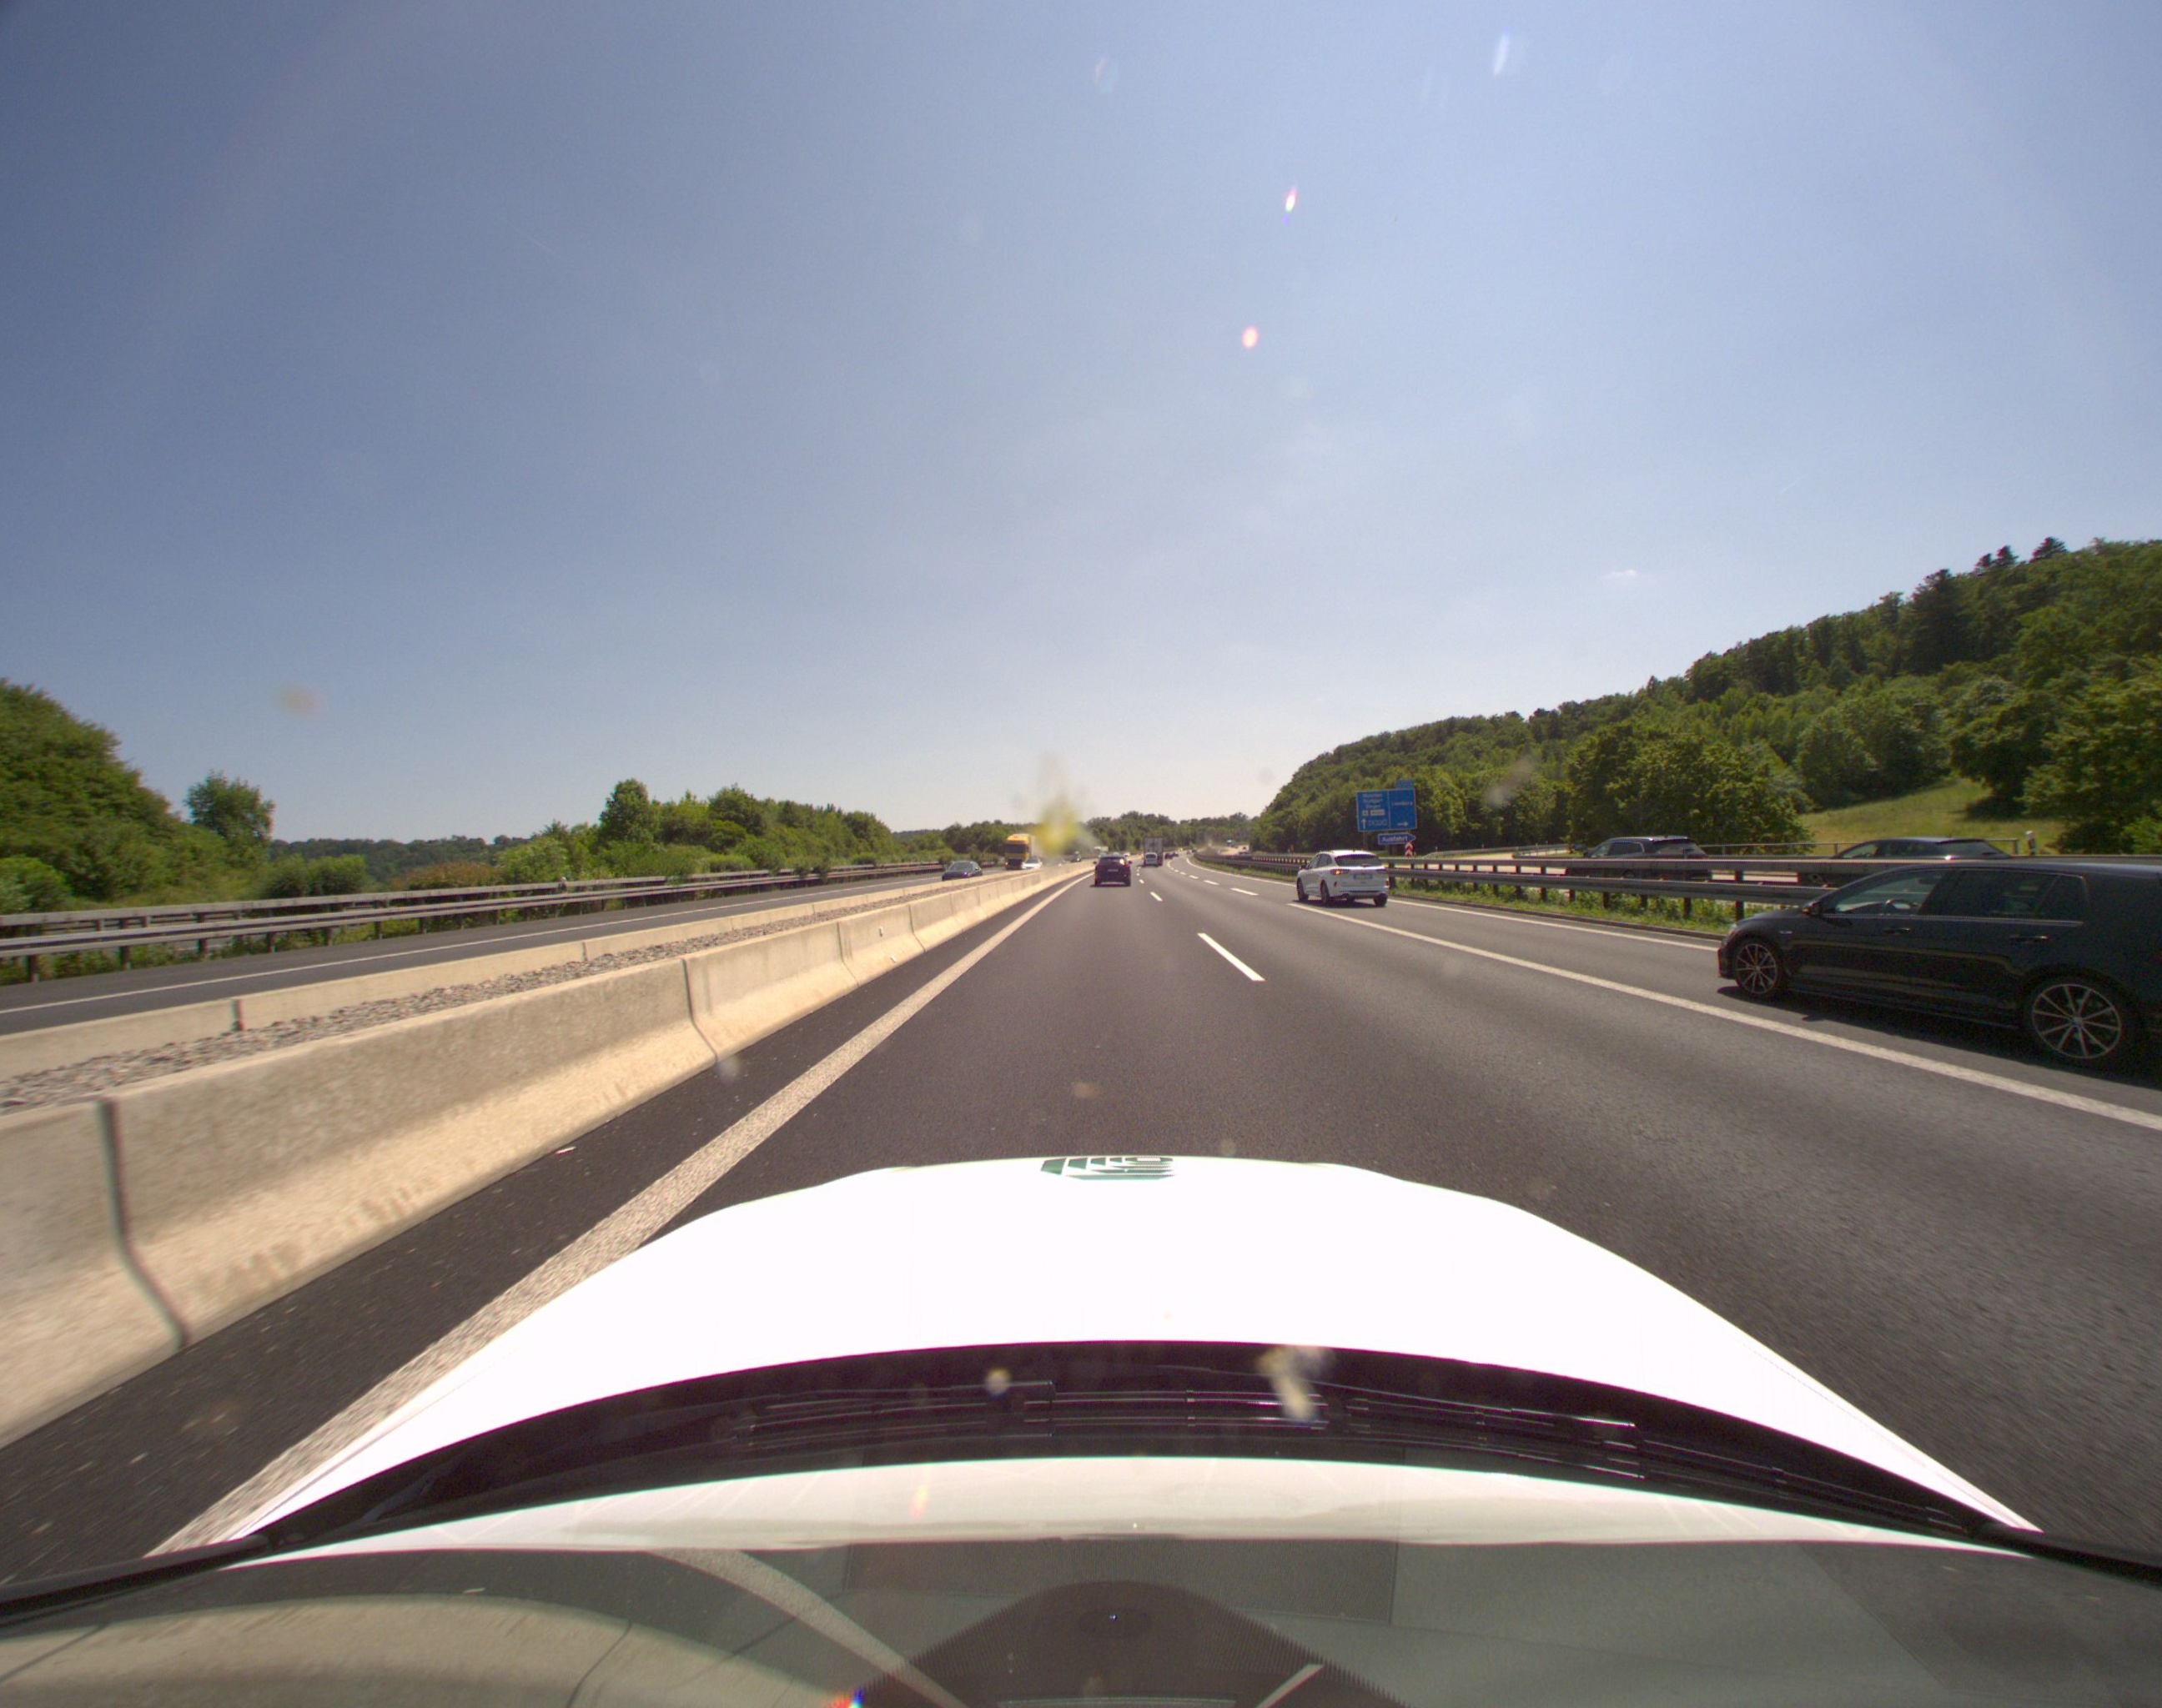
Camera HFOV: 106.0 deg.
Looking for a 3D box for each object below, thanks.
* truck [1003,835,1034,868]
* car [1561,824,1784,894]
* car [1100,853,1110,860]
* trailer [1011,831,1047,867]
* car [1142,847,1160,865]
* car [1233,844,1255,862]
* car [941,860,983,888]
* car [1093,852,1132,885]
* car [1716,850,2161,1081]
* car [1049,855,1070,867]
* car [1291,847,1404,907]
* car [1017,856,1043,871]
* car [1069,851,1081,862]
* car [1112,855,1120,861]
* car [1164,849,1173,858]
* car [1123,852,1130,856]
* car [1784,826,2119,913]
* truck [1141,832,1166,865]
[{"bbox_3d":[-7.313,-0.303,95.711,2.736,3.754,4.873,-1,-1,6],"label":"truck"},{"bbox_3d":[15.960,0.144,22.493,1.988,1.662,5.623,-1,0,-1],"label":"car"},{"bbox_3d":[5.842,0.575,200.409,1.857,1.666,4.675,-1,0,9],"label":"car"},{"bbox_3d":[-6.540,-0.535,104.572,2.705,4.312,12.841,-1,0,5],"label":"trailer"},{"bbox_3d":[8.789,0.213,102.086,1.984,2.013,4.005,-4,0,5],"label":"car"},{"bbox_3d":[20.361,-0.134,101.848,1.986,2.013,4.003,-3,0,2],"label":"car"},{"bbox_3d":[-6.960,1.114,47.932,1.723,1.536,4.613,-1,0,1],"label":"car"},{"bbox_3d":[1.564,0.738,41.695,1.774,1.577,3.997,-1,0,-1],"label":"car"},{"bbox_3d":[7.664,0.700,6.732,1.788,1.435,3.967,-1,0,1],"label":"car"},{"bbox_3d":[-2.554,0.868,98.652,1.984,1.349,4.265,-1,0,6],"label":"car"},{"bbox_3d":[8.114,0.659,25.259,1.987,1.662,4.466,-1,0,-1],"label":"car"},{"bbox_3d":[-4.887,0.899,78.589,1.986,1.374,4.664,-2,0,2],"label":"car"},{"bbox_3d":[-1.106,0.490,154.058,1.985,2.081,4.708,-1,0,4],"label":"car"},{"bbox_3d":[9.808,1.193,230.002,1.983,1.543,5.049,-1,0,6],"label":"car"},{"bbox_3d":[20.091,-0.053,187.229,1.983,2.014,4.006,-1,-1,6],"label":"car"},{"bbox_3d":[14.325,-0.031,257.430,1.840,1.394,4.008,0,0,7],"label":"car"},{"bbox_3d":[19.241,0.323,18.500,1.987,1.662,5.226,-1,0,-1],"label":"car"},{"bbox_3d":[10.373,-0.747,115.629,3.016,4.418,12.042,-1,0,7],"label":"truck"}]
